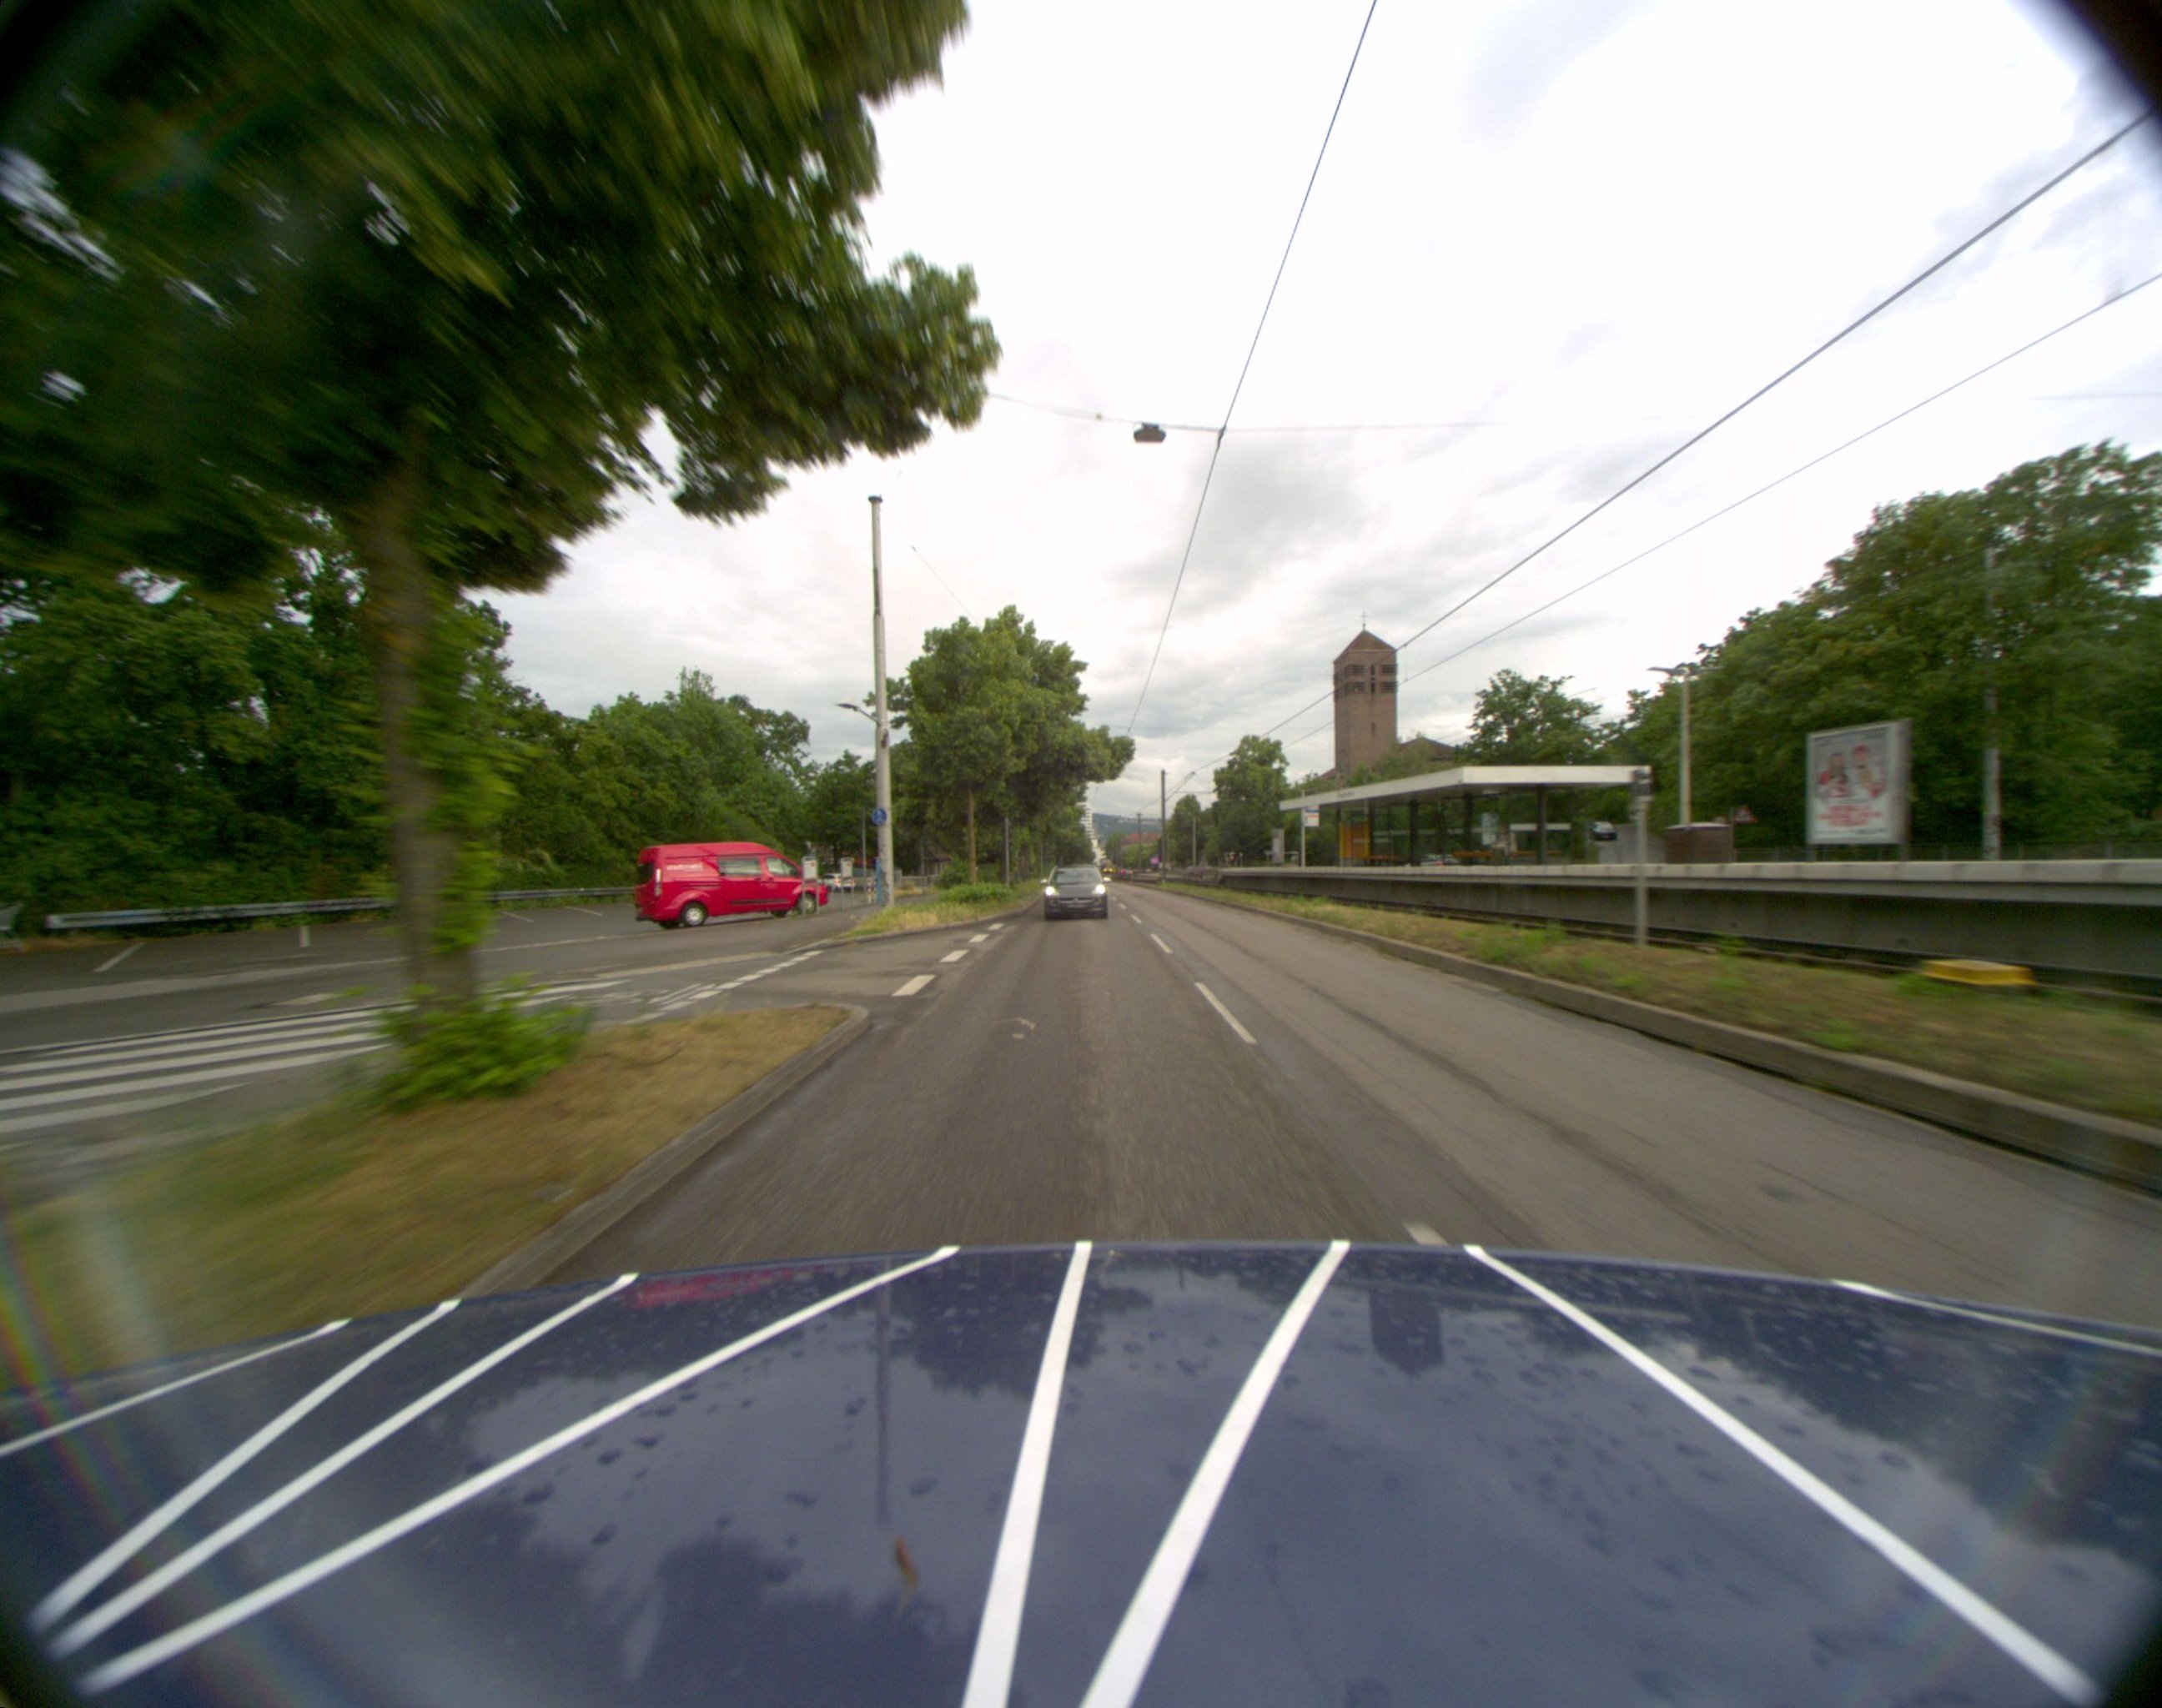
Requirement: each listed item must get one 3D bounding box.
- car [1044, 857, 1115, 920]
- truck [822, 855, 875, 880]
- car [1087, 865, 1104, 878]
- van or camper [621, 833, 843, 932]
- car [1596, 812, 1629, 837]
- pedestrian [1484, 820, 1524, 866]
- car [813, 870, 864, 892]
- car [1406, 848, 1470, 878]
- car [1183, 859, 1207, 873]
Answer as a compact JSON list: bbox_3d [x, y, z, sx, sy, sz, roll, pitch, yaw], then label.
[{"bbox_3d":[-0.061,0.930,21.762,1.746,1.544,4.494,-3,-1,-1],"label":"car"},{"bbox_3d":[-28.068,1.578,92.116,2.054,2.850,6.618,-1,0,28],"label":"truck"},{"bbox_3d":[1.817,2.109,94.136,1.768,1.502,4.343,-1,-1,4],"label":"car"},{"bbox_3d":[-10.126,0.746,22.434,2.036,2.392,5.401,-5,0,43],"label":"van or camper"},{"bbox_3d":[46.565,-2.589,66.693,1.995,2.002,4.006,-2,1,30],"label":"car"},{"bbox_3d":[11.617,-0.290,20.867,0.712,1.218,0.619,-2,0,0],"label":"pedestrian"},{"bbox_3d":[-19.075,2.111,59.669,2.004,1.570,4.638,-1,0,-42],"label":"car"},{"bbox_3d":[23.614,0.577,50.463,1.999,1.865,4.517,-1,0,-1],"label":"car"},{"bbox_3d":[14.084,1.505,94.164,1.999,1.614,4.516,-1,0,-4],"label":"car"}]
